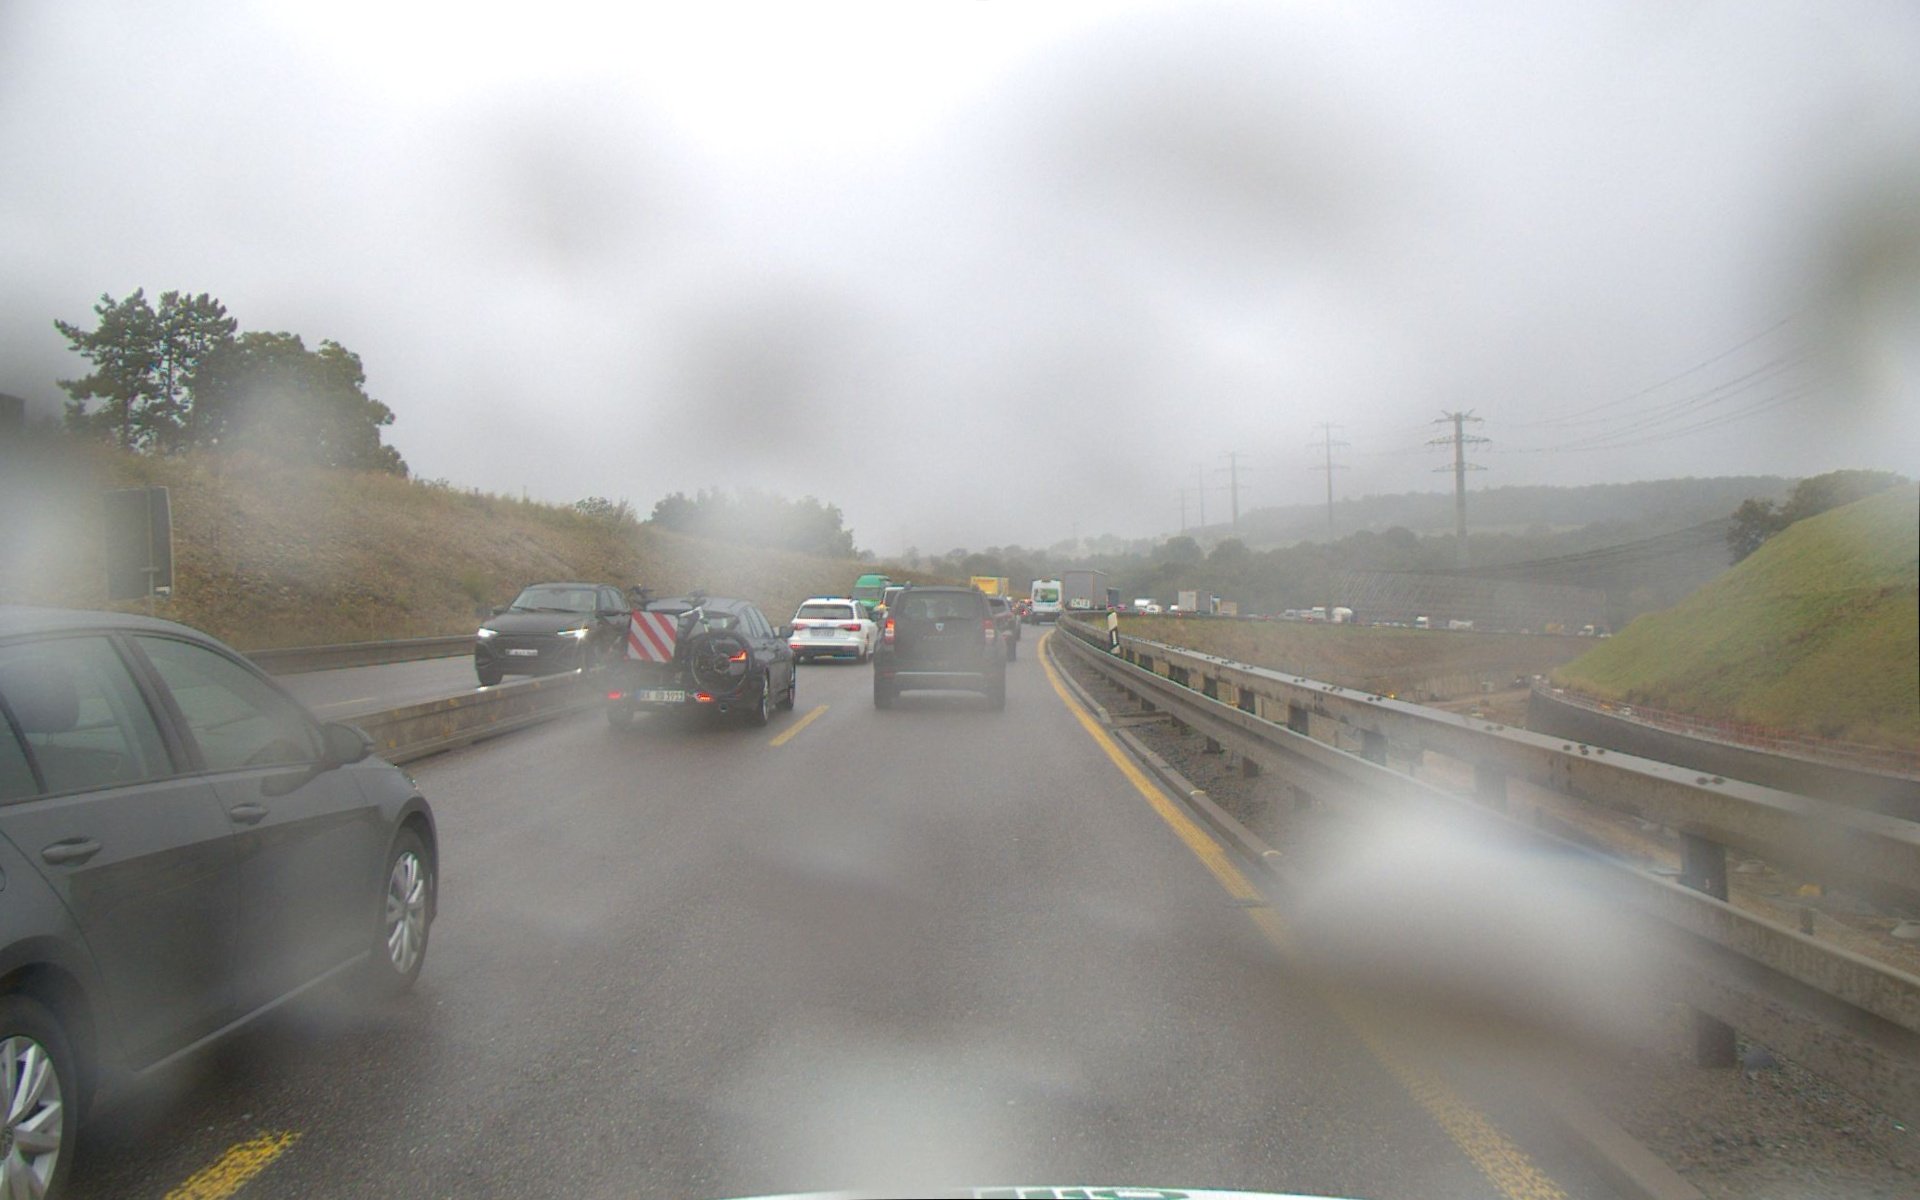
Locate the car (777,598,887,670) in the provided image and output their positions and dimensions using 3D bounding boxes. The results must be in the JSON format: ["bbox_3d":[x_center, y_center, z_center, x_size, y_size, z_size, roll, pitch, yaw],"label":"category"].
[{"bbox_3d":[-2.836,0.728,37.585,1.828,1.486,4.550,2,0,3],"label":"car"}]

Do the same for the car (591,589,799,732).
[{"bbox_3d":[-2.997,0.649,19.454,1.791,1.502,3.776,1,0,0],"label":"car"}]

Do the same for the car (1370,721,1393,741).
[{"bbox_3d":[46.617,14.488,182.851,1.951,1.847,4.003,1,0,7],"label":"car"}]

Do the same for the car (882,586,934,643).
[{"bbox_3d":[-1.793,0.484,58.300,1.626,1.913,4.020,2,0,0],"label":"car"}]

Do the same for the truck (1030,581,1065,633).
[{"bbox_3d":[5.697,0.451,107.127,2.104,3.221,6.462,2,0,3],"label":"truck"}]

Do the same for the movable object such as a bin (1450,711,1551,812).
[{"bbox_3d":[24.251,7.195,74.399,3.147,3.934,4.123,3,1,2],"label":"movable object such as a bin"}]

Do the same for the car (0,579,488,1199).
[{"bbox_3d":[-2.739,0.736,4.687,1.581,1.532,4.367,-1,0,-1],"label":"car"}]

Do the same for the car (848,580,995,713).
[{"bbox_3d":[-0.458,0.599,23.035,1.767,1.674,3.777,0,0,3],"label":"car"}]

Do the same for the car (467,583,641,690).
[{"bbox_3d":[-6.748,0.554,28.018,1.774,1.621,4.901,-1,0,-1],"label":"car"}]

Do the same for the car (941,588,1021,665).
[{"bbox_3d":[0.531,0.613,40.245,1.829,1.738,4.001,1,0,1],"label":"car"}]

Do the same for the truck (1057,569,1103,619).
[{"bbox_3d":[9.790,-0.495,134.390,3.132,3.827,8.515,2,0,7],"label":"truck"}]

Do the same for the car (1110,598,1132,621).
[{"bbox_3d":[14.170,0.790,145.285,1.737,1.949,4.003,2,0,8],"label":"car"}]

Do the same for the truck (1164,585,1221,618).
[{"bbox_3d":[32.413,0.267,230.046,4.620,4.222,15.684,2,0,20],"label":"truck"}]

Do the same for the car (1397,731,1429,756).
[{"bbox_3d":[45.155,14.264,164.898,2.315,2.049,4.002,2,0,4],"label":"car"}]

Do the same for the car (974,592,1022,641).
[{"bbox_3d":[1.363,0.579,60.788,1.500,1.669,4.011,2,0,-2],"label":"car"}]

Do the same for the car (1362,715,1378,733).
[{"bbox_3d":[57.083,17.251,230.327,1.952,2.049,4.002,2,0,17],"label":"car"}]

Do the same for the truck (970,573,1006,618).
[{"bbox_3d":[2.632,-0.408,153.418,2.710,4.066,8.427,1,0,5],"label":"truck"}]
